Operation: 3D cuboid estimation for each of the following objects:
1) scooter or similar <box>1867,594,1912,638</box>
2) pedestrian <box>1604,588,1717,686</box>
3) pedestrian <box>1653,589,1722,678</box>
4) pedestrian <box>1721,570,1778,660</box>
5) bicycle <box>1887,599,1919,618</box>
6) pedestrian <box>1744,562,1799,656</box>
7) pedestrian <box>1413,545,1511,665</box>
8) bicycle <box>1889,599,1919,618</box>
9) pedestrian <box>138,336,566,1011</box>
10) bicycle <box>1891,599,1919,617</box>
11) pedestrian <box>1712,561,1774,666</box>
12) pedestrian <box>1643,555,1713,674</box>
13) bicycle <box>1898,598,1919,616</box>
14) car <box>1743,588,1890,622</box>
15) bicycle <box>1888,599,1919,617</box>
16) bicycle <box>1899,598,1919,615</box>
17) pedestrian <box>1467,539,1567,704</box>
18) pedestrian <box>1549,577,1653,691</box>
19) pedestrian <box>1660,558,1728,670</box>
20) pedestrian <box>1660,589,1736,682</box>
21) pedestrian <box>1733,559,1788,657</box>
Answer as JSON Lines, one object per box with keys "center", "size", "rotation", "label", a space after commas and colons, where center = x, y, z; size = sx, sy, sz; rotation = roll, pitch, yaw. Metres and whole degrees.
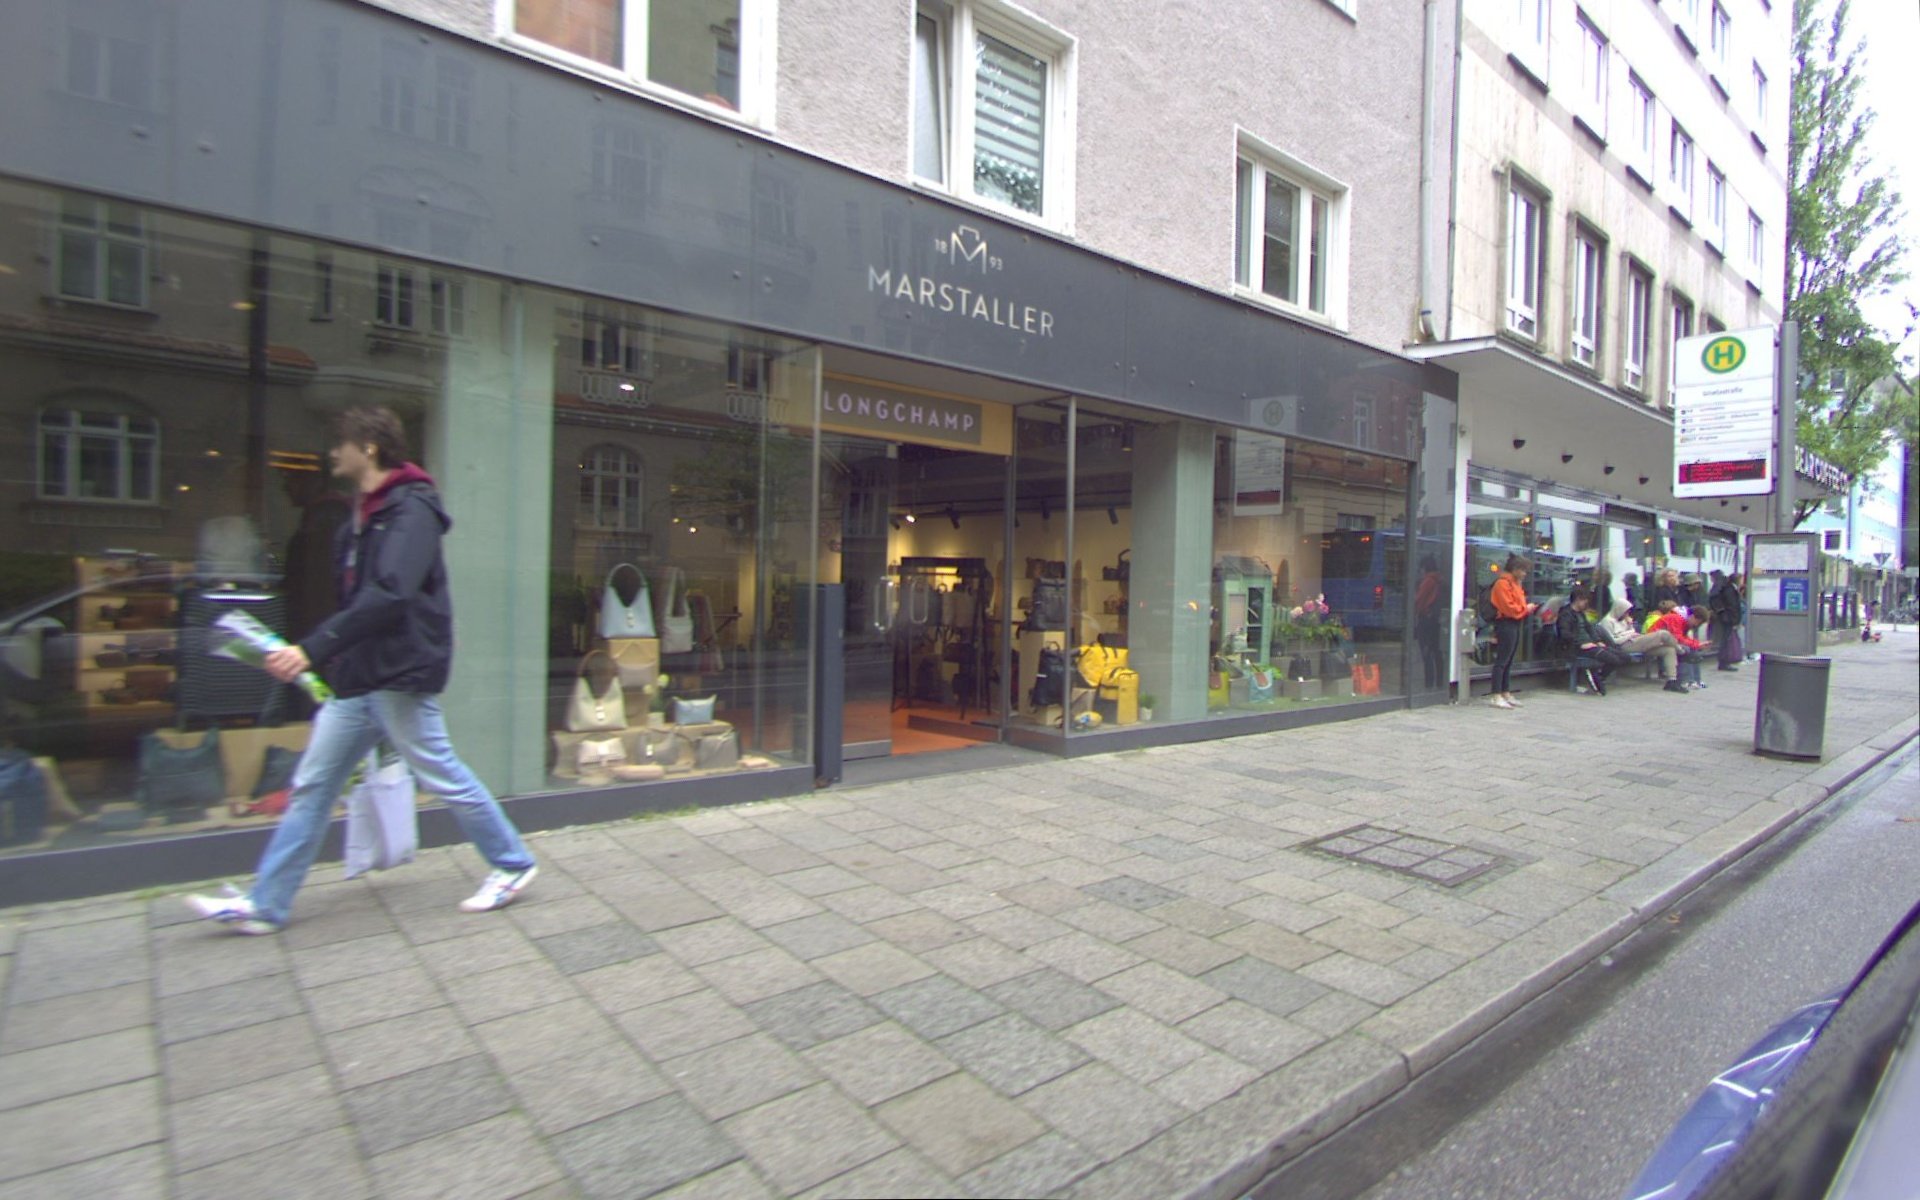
{"center": [27.845, 0.470, 30.315], "size": [1.415, 1.257, 0.565], "rotation": [0, 1, -30], "label": "scooter or similar"}
{"center": [9.584, 0.481, 13.868], "size": [0.656, 1.252, 1.099], "rotation": [0, 2, -39], "label": "pedestrian"}
{"center": [10.702, 0.473, 14.898], "size": [0.487, 1.252, 0.682], "rotation": [0, 2, -39], "label": "pedestrian"}
{"center": [14.727, 0.266, 18.888], "size": [0.683, 1.613, 0.659], "rotation": [0, 2, -39], "label": "pedestrian"}
{"center": [59.102, 0.552, 62.935], "size": [2.115, 1.130, 0.728], "rotation": [3, 2, 41], "label": "bicycle"}
{"center": [16.190, 0.166, 20.180], "size": [0.757, 1.805, 0.659], "rotation": [0, 2, -39], "label": "pedestrian"}
{"center": [6.185, 0.043, 12.471], "size": [0.829, 1.405, 0.771], "rotation": [0, 2, -41], "label": "pedestrian"}
{"center": [59.784, 0.558, 63.539], "size": [2.115, 1.130, 0.728], "rotation": [3, 2, 41], "label": "bicycle"}
{"center": [-2.177, 0.187, 3.614], "size": [1.158, 1.933, 0.930], "rotation": [0, 4, -40], "label": "pedestrian"}
{"center": [61.831, 0.528, 65.588], "size": [2.115, 1.130, 0.620], "rotation": [3, 2, 41], "label": "bicycle"}
{"center": [13.516, 0.219, 17.474], "size": [0.683, 1.754, 0.659], "rotation": [0, 2, -39], "label": "pedestrian"}
{"center": [10.969, 0.204, 15.461], "size": [0.671, 1.754, 0.659], "rotation": [0, 2, -39], "label": "pedestrian"}
{"center": [63.598, 0.499, 67.039], "size": [2.115, 1.130, 0.620], "rotation": [3, 2, 41], "label": "bicycle"}
{"center": [43.305, 0.225, 51.298], "size": [1.965, 1.446, 5.438], "rotation": [0, 2, -40], "label": "car"}
{"center": [61.051, 0.529, 64.947], "size": [2.115, 1.130, 0.620], "rotation": [3, 2, 41], "label": "bicycle"}
{"center": [64.925, 0.461, 68.389], "size": [2.115, 1.130, 0.620], "rotation": [3, 2, 41], "label": "bicycle"}
{"center": [6.185, 0.217, 11.240], "size": [0.733, 1.754, 0.704], "rotation": [0, 2, -39], "label": "pedestrian"}
{"center": [8.190, 0.409, 12.942], "size": [0.847, 1.369, 0.862], "rotation": [0, 2, -39], "label": "pedestrian"}
{"center": [11.931, 0.207, 16.449], "size": [0.764, 1.754, 0.659], "rotation": [0, 2, -39], "label": "pedestrian"}
{"center": [10.485, 0.489, 14.380], "size": [0.574, 1.252, 0.709], "rotation": [0, 2, -39], "label": "pedestrian"}
{"center": [15.591, 0.144, 19.720], "size": [0.683, 1.845, 0.659], "rotation": [0, 2, -39], "label": "pedestrian"}
